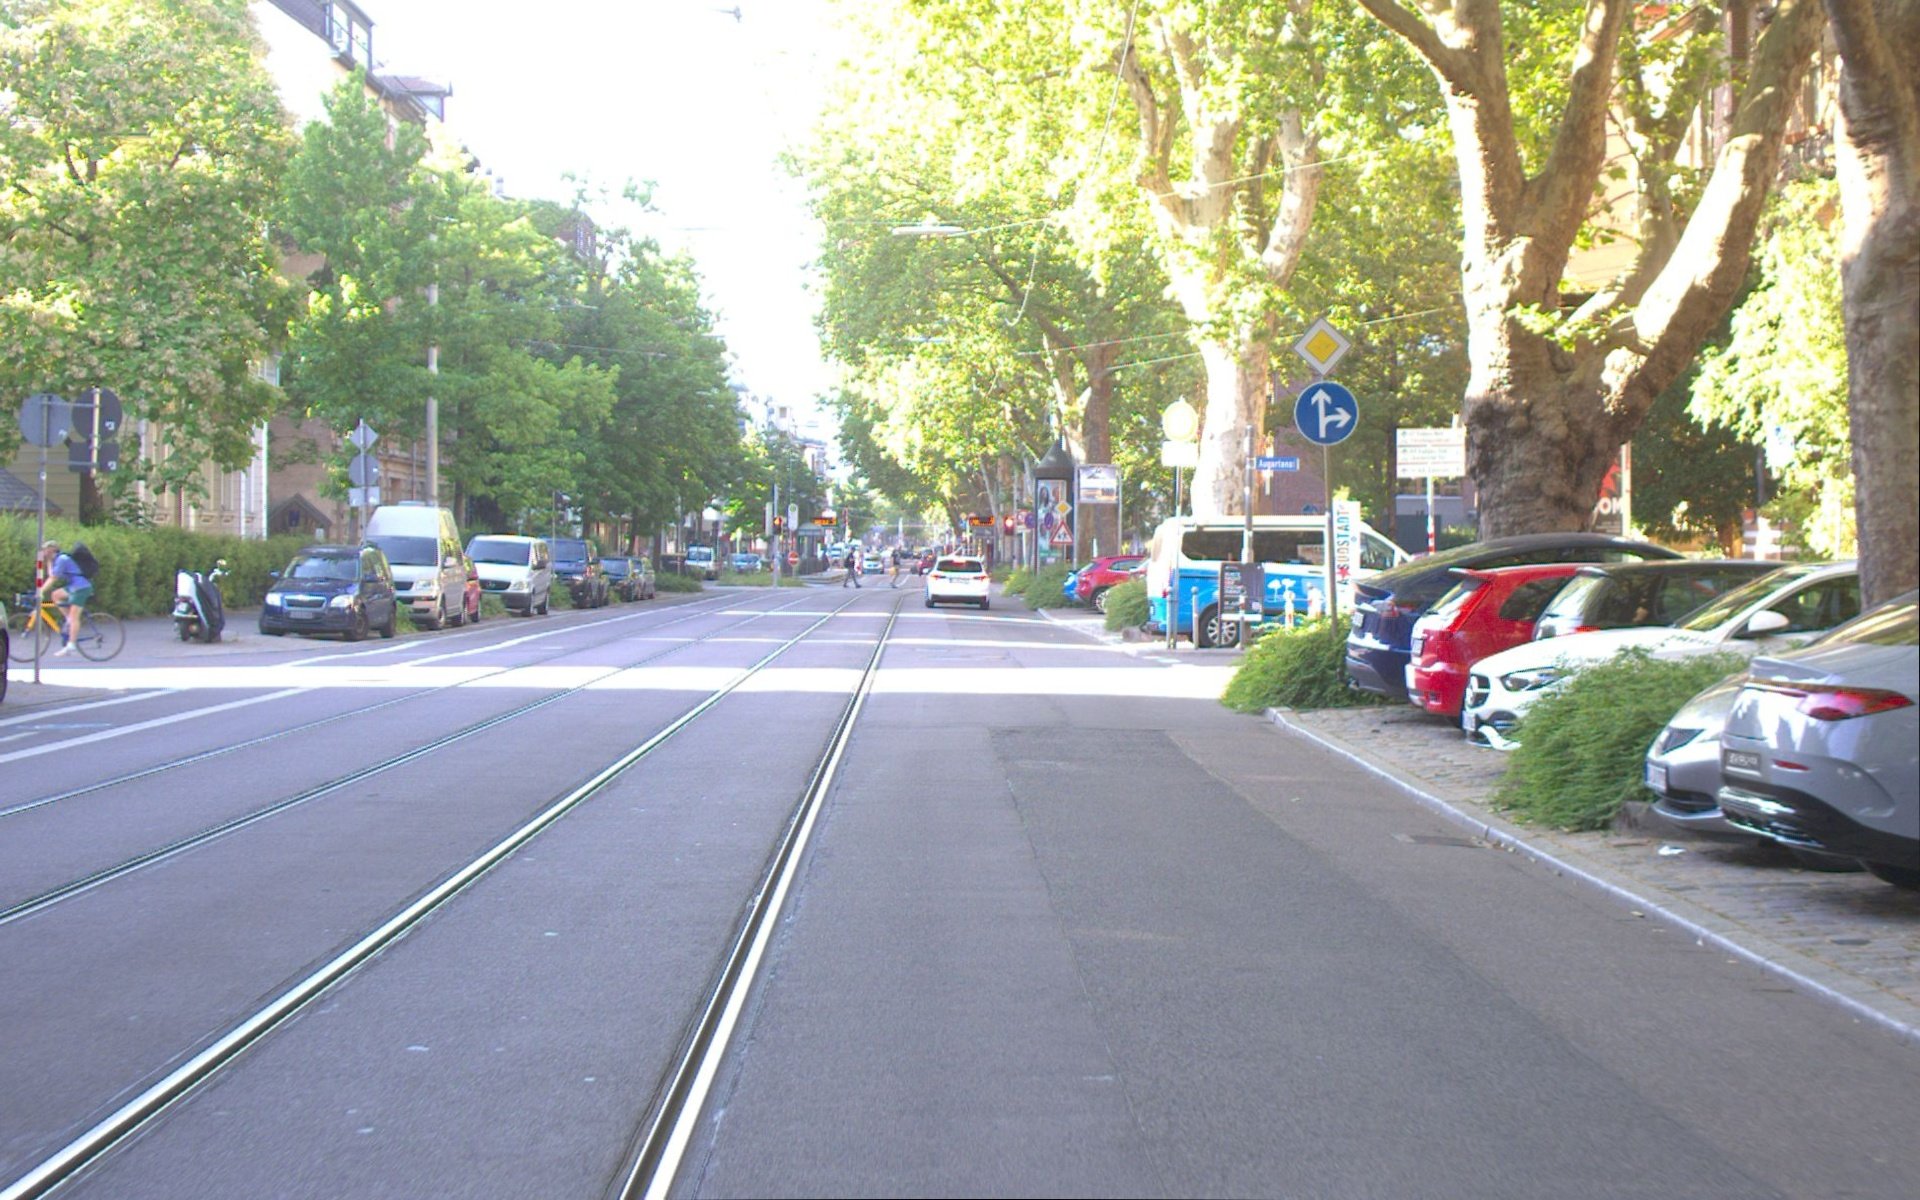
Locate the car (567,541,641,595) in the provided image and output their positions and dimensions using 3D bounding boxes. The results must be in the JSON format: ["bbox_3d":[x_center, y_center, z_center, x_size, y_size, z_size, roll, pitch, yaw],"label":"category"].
[{"bbox_3d":[-11.702,-1.063,113.201,1.993,1.739,4.659,0,1,-1],"label":"car"}]

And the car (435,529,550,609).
[{"bbox_3d":[-11.225,-0.758,82.861,2.173,1.854,4.659,0,1,-1],"label":"car"}]

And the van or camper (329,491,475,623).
[{"bbox_3d":[-11.014,-0.862,68.181,2.079,2.524,5.318,0,1,-1],"label":"van or camper"}]

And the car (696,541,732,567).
[{"bbox_3d":[-14.193,-2.630,198.046,1.918,1.414,3.591,-2,0,-5],"label":"car"}]

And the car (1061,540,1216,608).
[{"bbox_3d":[4.714,-0.696,91.075,3.987,1.778,2.000,0,1,0],"label":"car"}]

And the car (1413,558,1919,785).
[{"bbox_3d":[5.526,0.454,23.153,4.686,1.441,1.892,0,1,0],"label":"car"}]

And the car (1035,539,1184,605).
[{"bbox_3d":[4.080,-0.787,94.336,3.987,1.778,2.000,0,1,0],"label":"car"}]

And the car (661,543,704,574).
[{"bbox_3d":[-13.016,-1.947,161.504,1.918,1.414,3.721,0,1,-3],"label":"car"}]

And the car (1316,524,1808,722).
[{"bbox_3d":[5.230,0.180,30.241,3.923,1.664,1.961,0,1,-2],"label":"car"}]

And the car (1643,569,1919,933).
[{"bbox_3d":[5.290,0.604,14.747,4.295,1.434,1.948,0,1,-1],"label":"car"}]

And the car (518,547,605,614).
[{"bbox_3d":[-11.247,-0.571,97.281,1.993,1.854,4.179,0,1,-1],"label":"car"}]

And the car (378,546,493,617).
[{"bbox_3d":[-11.186,-0.414,73.553,1.876,1.455,4.207,0,1,-1],"label":"car"}]

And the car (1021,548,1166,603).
[{"bbox_3d":[3.740,-0.705,96.644,3.987,1.515,2.000,0,1,0],"label":"car"}]

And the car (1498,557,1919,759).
[{"bbox_3d":[6.095,0.409,25.607,3.882,1.430,1.754,0,1,0],"label":"car"}]

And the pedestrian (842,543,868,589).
[{"bbox_3d":[-4.618,-1.506,150.652,1.048,2.007,1.081,0,1,3],"label":"pedestrian"}]

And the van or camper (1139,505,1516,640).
[{"bbox_3d":[5.736,-0.452,54.128,5.554,2.006,2.245,0,3,-5],"label":"van or camper"}]

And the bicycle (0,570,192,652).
[{"bbox_3d":[-12.057,0.143,47.088,2.947,1.101,1.052,0,1,-10],"label":"bicycle"}]

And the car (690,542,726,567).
[{"bbox_3d":[-14.201,-2.578,193.800,1.918,1.414,3.591,0,1,-3],"label":"car"}]

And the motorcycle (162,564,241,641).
[{"bbox_3d":[-12.091,0.029,54.842,0.763,1.103,2.330,1,3,-1],"label":"motorcycle"}]

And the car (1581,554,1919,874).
[{"bbox_3d":[5.351,0.538,17.224,4.142,1.504,1.796,0,1,0],"label":"car"}]

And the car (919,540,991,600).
[{"bbox_3d":[-0.158,-0.841,94.144,1.918,1.579,3.791,-1,1,-1],"label":"car"}]

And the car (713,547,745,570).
[{"bbox_3d":[-14.516,-2.600,215.898,1.918,1.414,3.591,0,1,-3],"label":"car"}]

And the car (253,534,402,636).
[{"bbox_3d":[-10.806,-0.290,58.954,1.787,1.581,4.344,3,1,-2],"label":"car"}]

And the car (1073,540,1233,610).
[{"bbox_3d":[4.960,-0.663,88.792,3.987,1.778,2.000,0,1,0],"label":"car"}]

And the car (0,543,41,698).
[{"bbox_3d":[-10.028,0.182,31.797,1.836,1.463,5.070,3,1,-3],"label":"car"}]

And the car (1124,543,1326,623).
[{"bbox_3d":[5.421,-0.361,70.717,3.987,1.603,2.000,0,1,0],"label":"car"}]

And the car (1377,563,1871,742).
[{"bbox_3d":[5.341,0.404,28.021,3.650,1.373,1.890,0,1,0],"label":"car"}]

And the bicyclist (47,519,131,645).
[{"bbox_3d":[-11.923,-0.254,47.086,1.045,1.700,1.058,0,1,-10],"label":"bicyclist"}]
